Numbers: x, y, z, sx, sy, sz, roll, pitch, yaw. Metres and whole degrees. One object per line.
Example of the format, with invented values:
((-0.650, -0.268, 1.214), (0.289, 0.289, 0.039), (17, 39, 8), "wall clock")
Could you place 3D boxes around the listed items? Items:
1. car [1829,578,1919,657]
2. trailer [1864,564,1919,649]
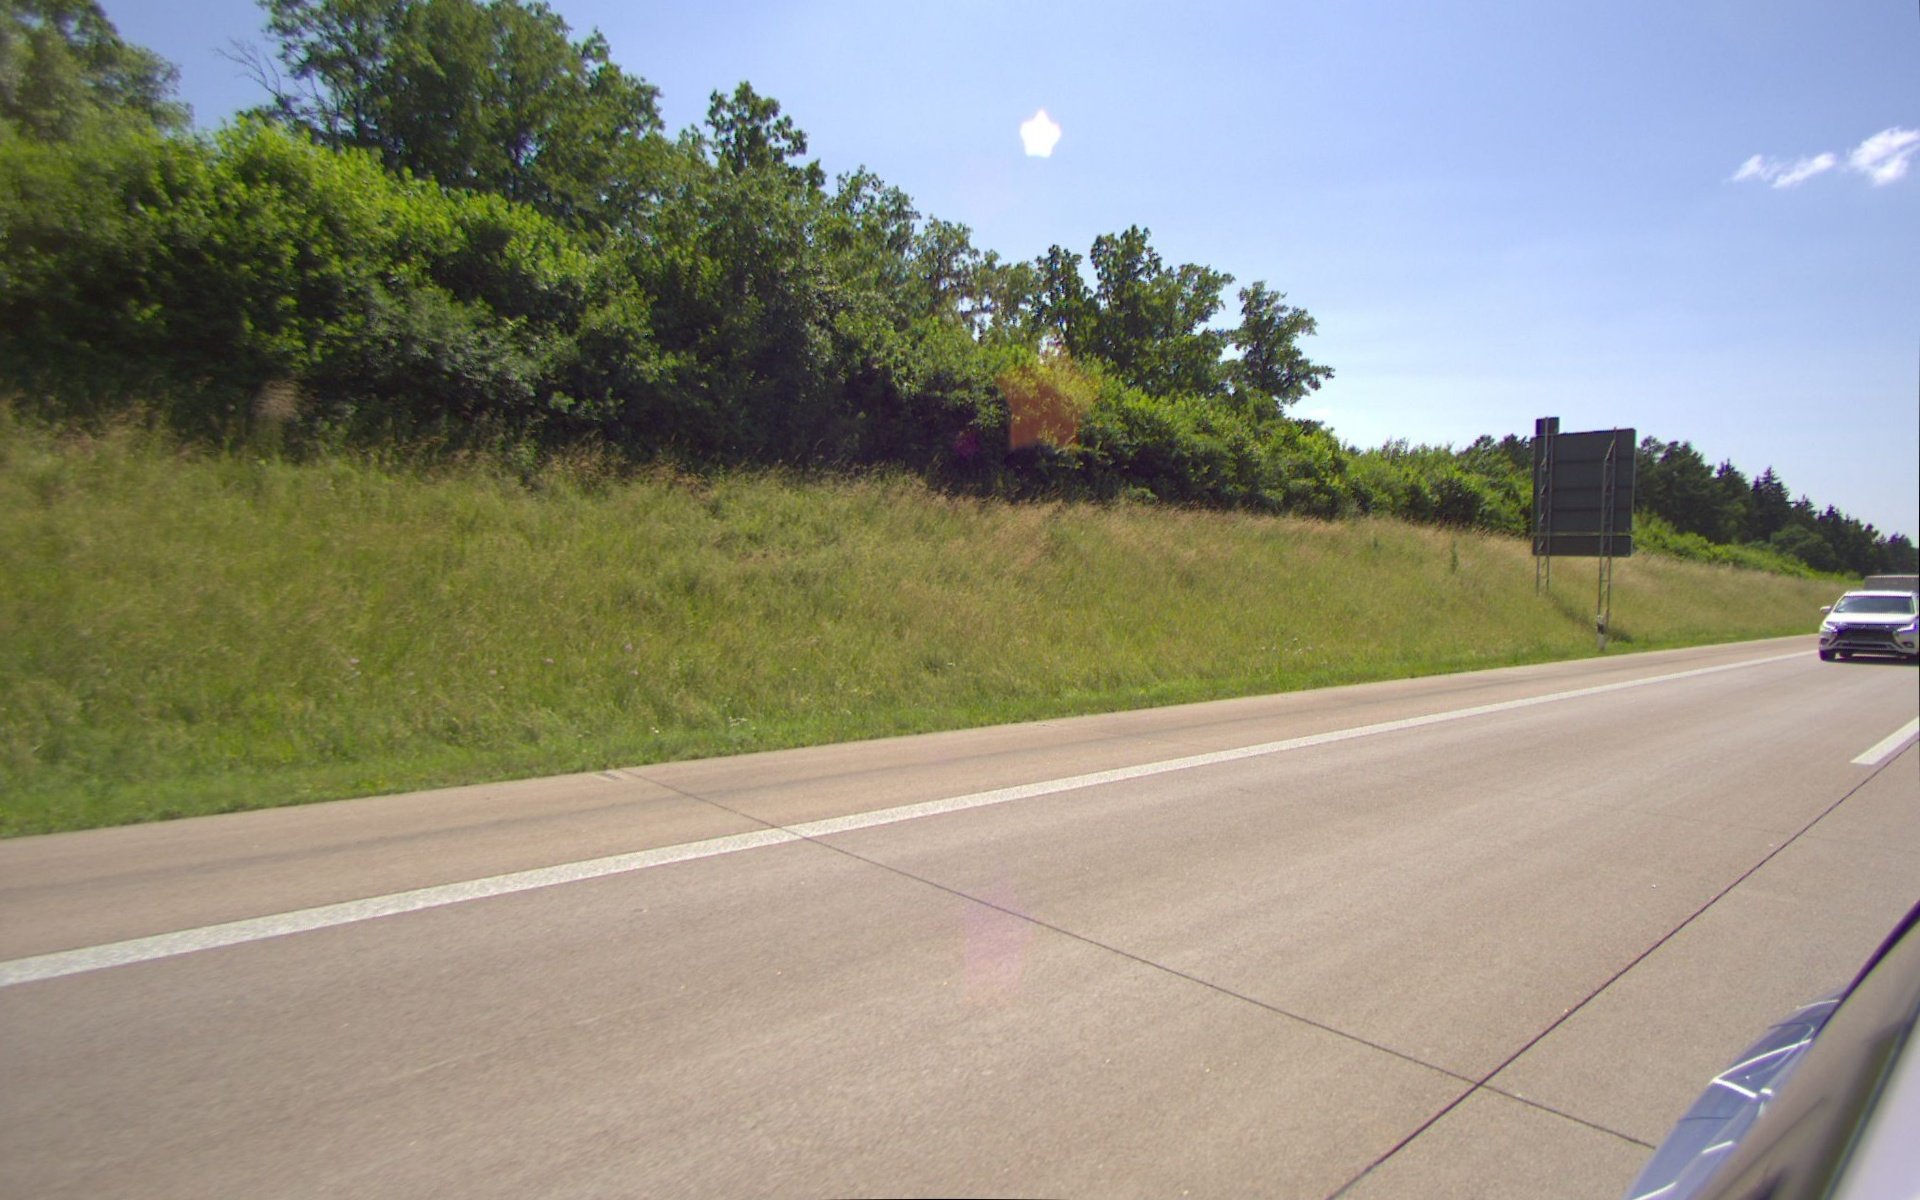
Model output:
((22.686, 0.369, 24.535), (5.098, 1.750, 1.893), (0, 1, -43), "car")
((26.005, 0.157, 27.564), (3.947, 2.191, 1.660), (0, 0, -42), "trailer")
